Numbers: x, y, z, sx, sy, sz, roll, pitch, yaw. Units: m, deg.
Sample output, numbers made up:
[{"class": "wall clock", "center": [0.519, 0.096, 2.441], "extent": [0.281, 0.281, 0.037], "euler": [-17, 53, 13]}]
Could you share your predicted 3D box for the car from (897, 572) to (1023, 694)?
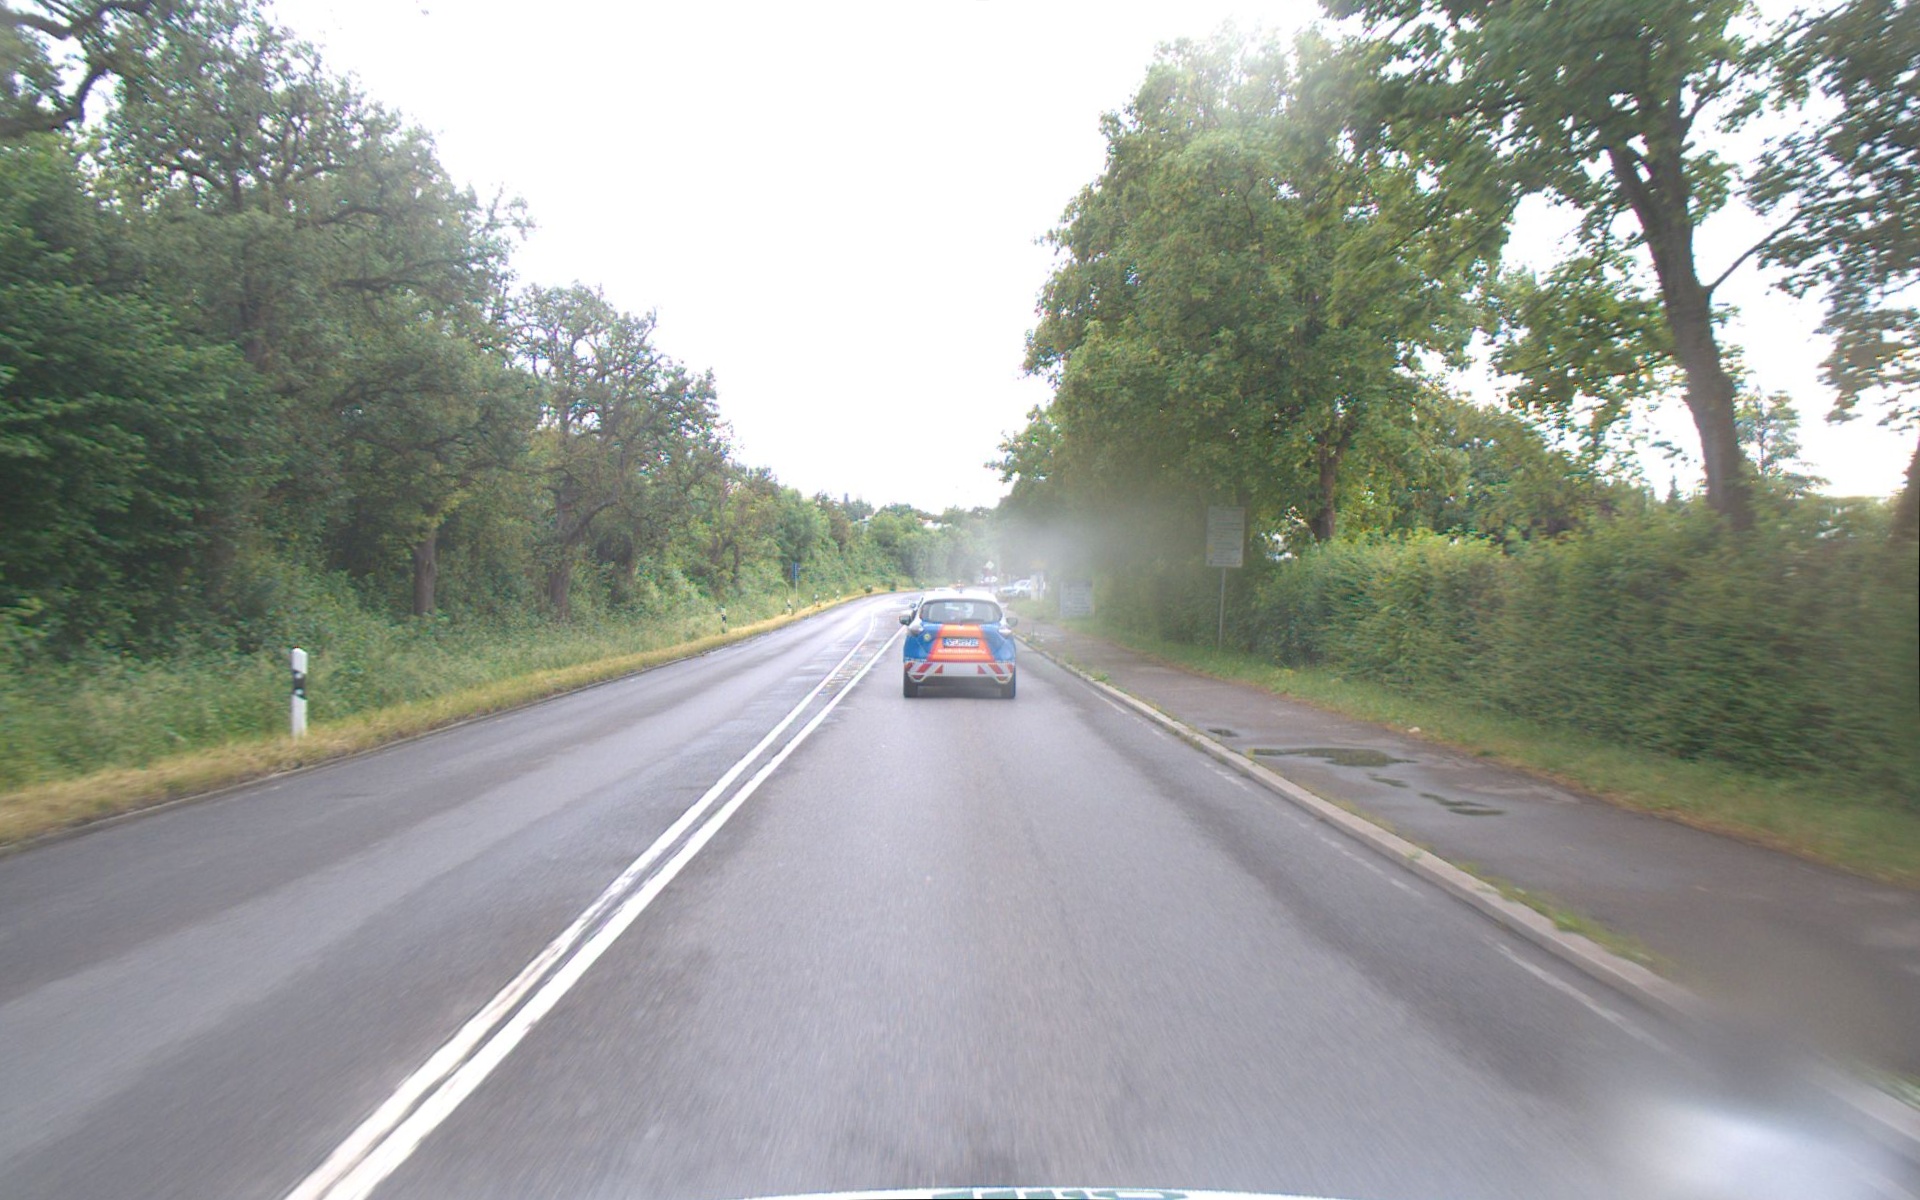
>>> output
[{"class": "car", "center": [-0.037, 0.475, 25.750], "extent": [1.769, 1.697, 3.855], "euler": [2, 0, -1]}]

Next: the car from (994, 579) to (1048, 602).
[{"class": "car", "center": [5.148, -0.806, 139.621], "extent": [2.001, 1.781, 4.586], "euler": [2, 0, 44]}]

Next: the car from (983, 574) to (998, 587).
[{"class": "car", "center": [4.696, -2.981, 253.223], "extent": [1.658, 1.822, 3.859], "euler": [2, 0, 12]}]

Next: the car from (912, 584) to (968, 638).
[{"class": "car", "center": [-0.689, 0.350, 54.183], "extent": [1.660, 1.623, 3.854], "euler": [2, 0, -2]}]
